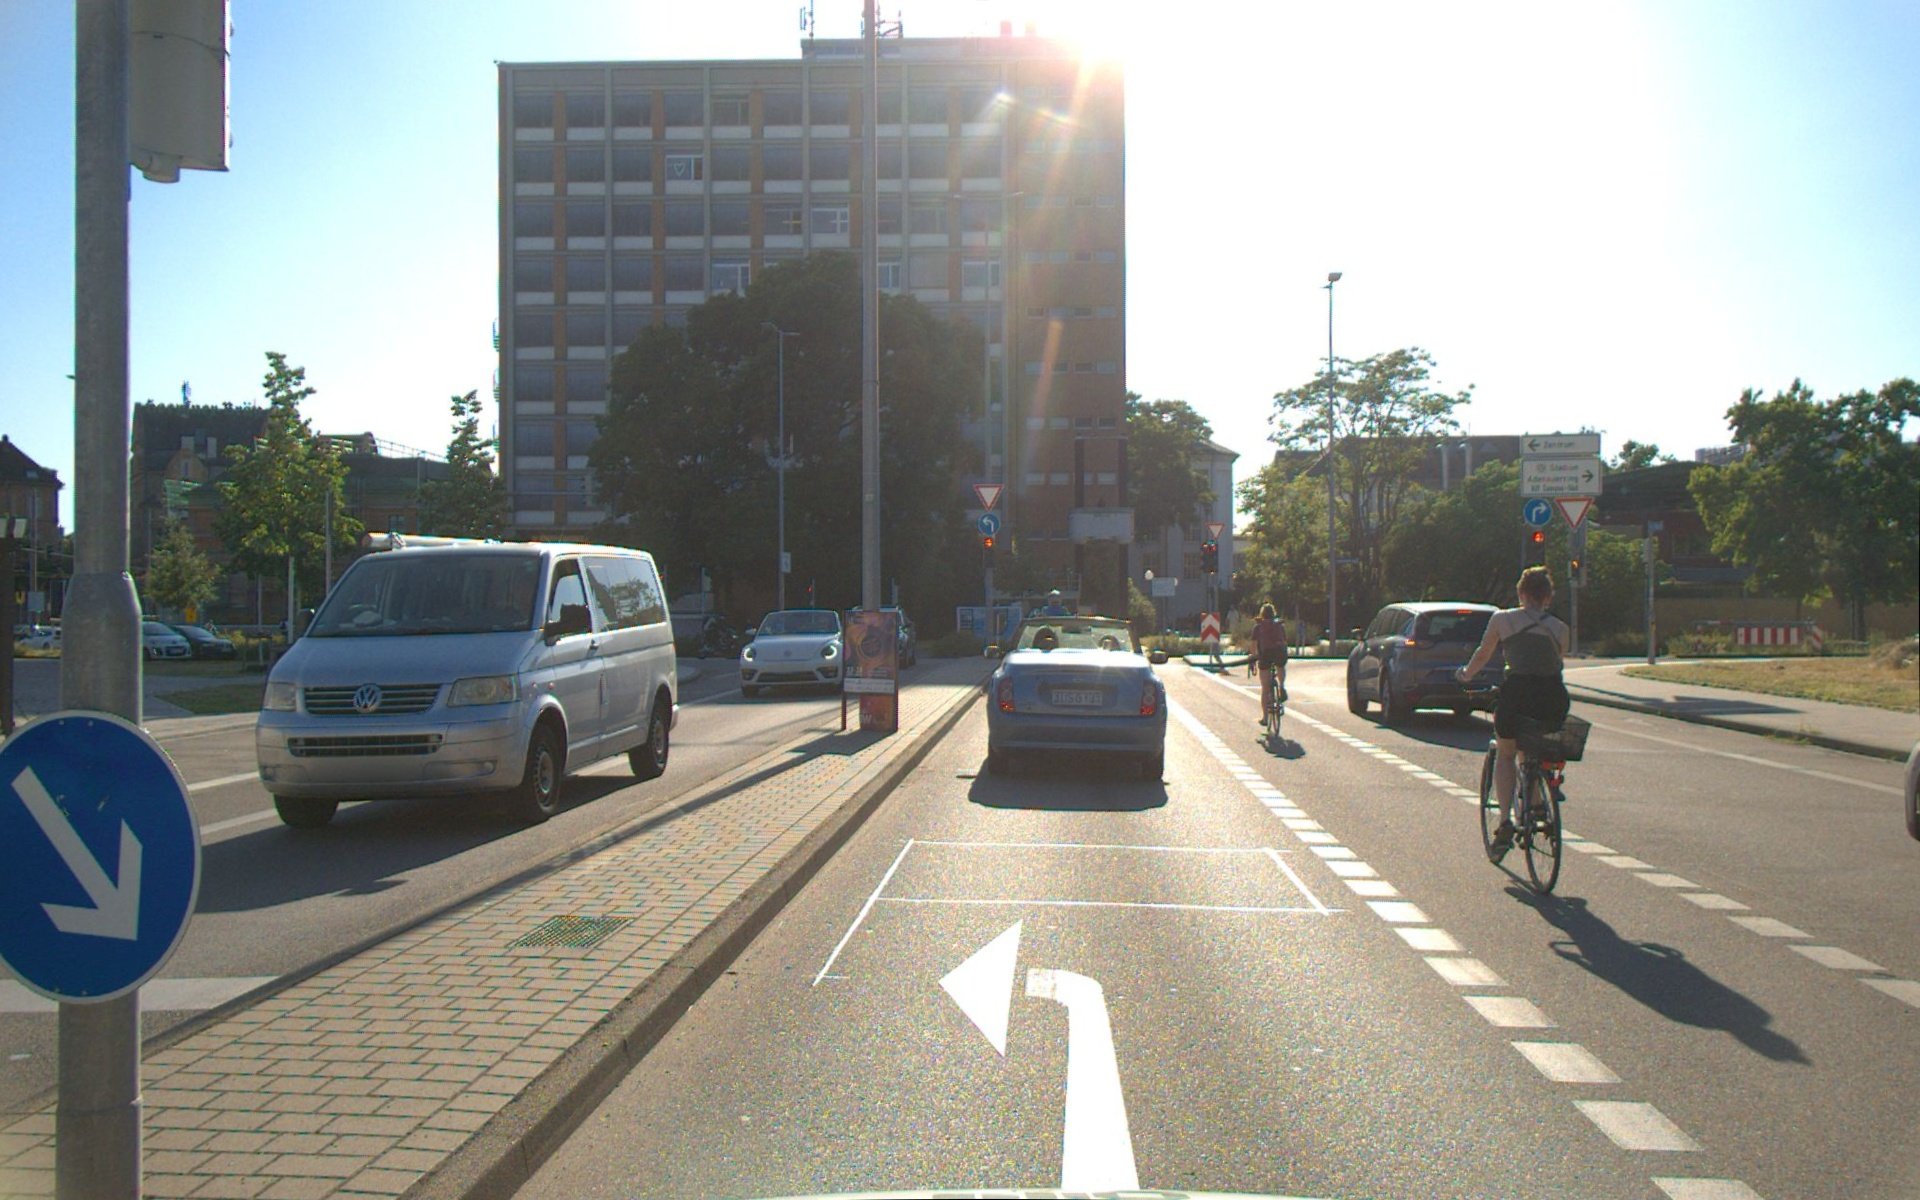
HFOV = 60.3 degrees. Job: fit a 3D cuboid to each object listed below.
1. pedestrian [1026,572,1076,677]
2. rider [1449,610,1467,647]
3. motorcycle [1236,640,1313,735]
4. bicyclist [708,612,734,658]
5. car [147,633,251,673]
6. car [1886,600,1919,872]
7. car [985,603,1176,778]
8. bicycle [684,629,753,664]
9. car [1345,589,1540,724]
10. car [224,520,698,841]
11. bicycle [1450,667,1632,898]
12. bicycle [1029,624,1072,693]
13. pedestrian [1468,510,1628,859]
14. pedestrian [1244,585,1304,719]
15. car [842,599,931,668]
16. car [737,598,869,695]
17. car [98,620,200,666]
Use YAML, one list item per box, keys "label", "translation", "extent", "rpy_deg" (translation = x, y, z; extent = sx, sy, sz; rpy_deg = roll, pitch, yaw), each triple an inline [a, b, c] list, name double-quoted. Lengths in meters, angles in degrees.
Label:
- label: "pedestrian"
  translation: [1.696, 0.459, 30.676]
  extent: [0.815, 1.902, 0.921]
  rpy_deg: [1, -2, 7]
- label: "rider"
  translation: [21.807, 1.247, 72.473]
  extent: [0.735, 1.626, 0.590]
  rpy_deg: [1, -2, 15]
- label: "motorcycle"
  translation: [3.934, 1.067, 20.847]
  extent: [0.600, 1.117, 2.361]
  rpy_deg: [1, -1, 3]
- label: "bicyclist"
  translation: [-8.590, 1.255, 59.505]
  extent: [0.735, 1.626, 0.590]
  rpy_deg: [1, -2, 10]
- label: "car"
  translation: [-31.000, 2.155, 67.378]
  extent: [3.511, 1.588, 1.651]
  rpy_deg: [-1, -1, 9]
- label: "car"
  translation: [6.558, 0.795, 8.068]
  extent: [1.750, 1.622, 4.329]
  rpy_deg: [1, -1, 2]
- label: "car"
  translation: [1.107, 0.833, 16.359]
  extent: [1.626, 1.466, 4.155]
  rpy_deg: [1, -1, 2]
- label: "bicycle"
  translation: [-8.699, 1.665, 59.507]
  extent: [2.355, 1.212, 0.610]
  rpy_deg: [1, -2, 10]
- label: "car"
  translation: [6.823, 0.796, 23.836]
  extent: [1.793, 1.719, 4.370]
  rpy_deg: [1, -1, 4]
- label: "car"
  translation: [-3.557, 0.531, 12.863]
  extent: [1.868, 1.979, 4.709]
  rpy_deg: [-2, -1, 5]
- label: "bicycle"
  translation: [3.355, 1.001, 9.708]
  extent: [0.552, 1.171, 1.951]
  rpy_deg: [1, -1, 6]
- label: "bicycle"
  translation: [1.705, 1.080, 30.782]
  extent: [0.595, 1.212, 2.416]
  rpy_deg: [1, -1, 7]
- label: "pedestrian"
  translation: [3.365, 0.470, 9.527]
  extent: [0.645, 1.902, 0.873]
  rpy_deg: [1, -2, 4]
- label: "pedestrian"
  translation: [3.937, 0.649, 20.767]
  extent: [0.575, 1.626, 1.025]
  rpy_deg: [1, -2, 2]
- label: "car"
  translation: [-1.760, 0.802, 40.537]
  extent: [1.761, 1.557, 4.001]
  rpy_deg: [-1, 0, 3]
- label: "car"
  translation: [-2.716, 0.789, 29.462]
  extent: [1.761, 1.557, 4.001]
  rpy_deg: [-1, 0, 2]
- label: "car"
  translation: [-28.984, 1.515, 59.118]
  extent: [3.522, 1.588, 1.641]
  rpy_deg: [-1, -1, 31]
